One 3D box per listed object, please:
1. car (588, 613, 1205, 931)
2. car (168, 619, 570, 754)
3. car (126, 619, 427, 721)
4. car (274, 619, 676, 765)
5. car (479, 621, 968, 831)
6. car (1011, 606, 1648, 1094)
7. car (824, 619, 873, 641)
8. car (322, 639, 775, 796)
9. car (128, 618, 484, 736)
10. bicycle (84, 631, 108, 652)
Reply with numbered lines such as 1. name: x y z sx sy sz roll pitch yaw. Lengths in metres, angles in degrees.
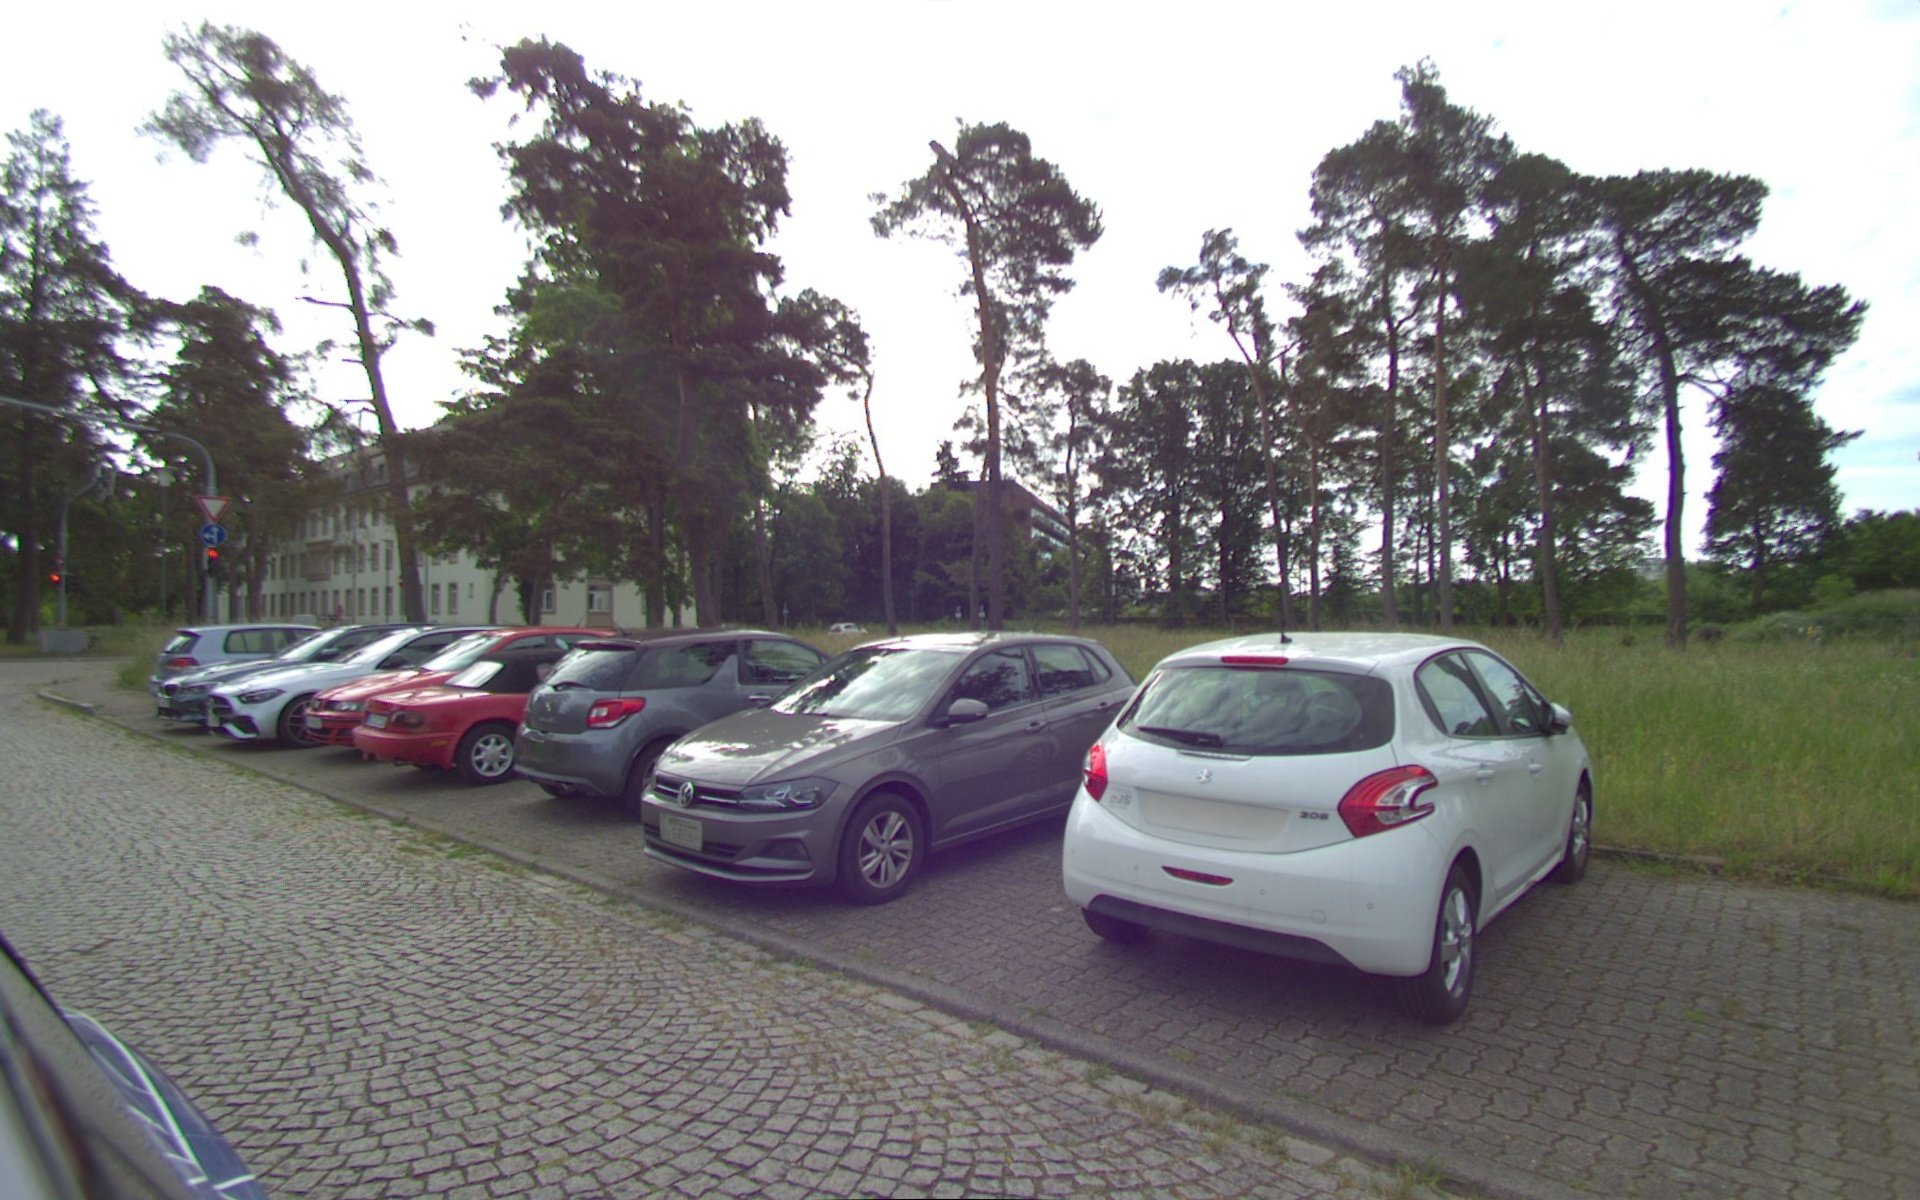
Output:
1. car: -0.164 0.862 6.963 1.864 1.503 4.121 -1 -2 42
2. car: -7.821 1.034 13.773 1.933 1.519 4.331 -1 -2 38
3. car: -11.677 1.112 17.508 1.903 1.555 3.947 -1 -2 39
4. car: -5.826 0.993 12.575 1.863 1.488 4.124 -1 -2 40
5. car: -1.961 0.945 9.363 1.845 1.493 4.122 -1 -2 41
6. car: 2.264 0.849 5.434 1.845 1.508 4.025 -2 -1 41
7. car: -9.385 2.521 85.065 1.722 1.820 3.943 -2 -2 43
8. car: -4.195 1.089 10.831 1.831 1.276 4.121 -1 -2 42
9. car: -9.877 1.066 15.589 1.932 1.560 4.210 -1 -2 37
10. bicycle: -37.125 1.779 43.482 1.046 0.923 0.291 -1 -2 20
